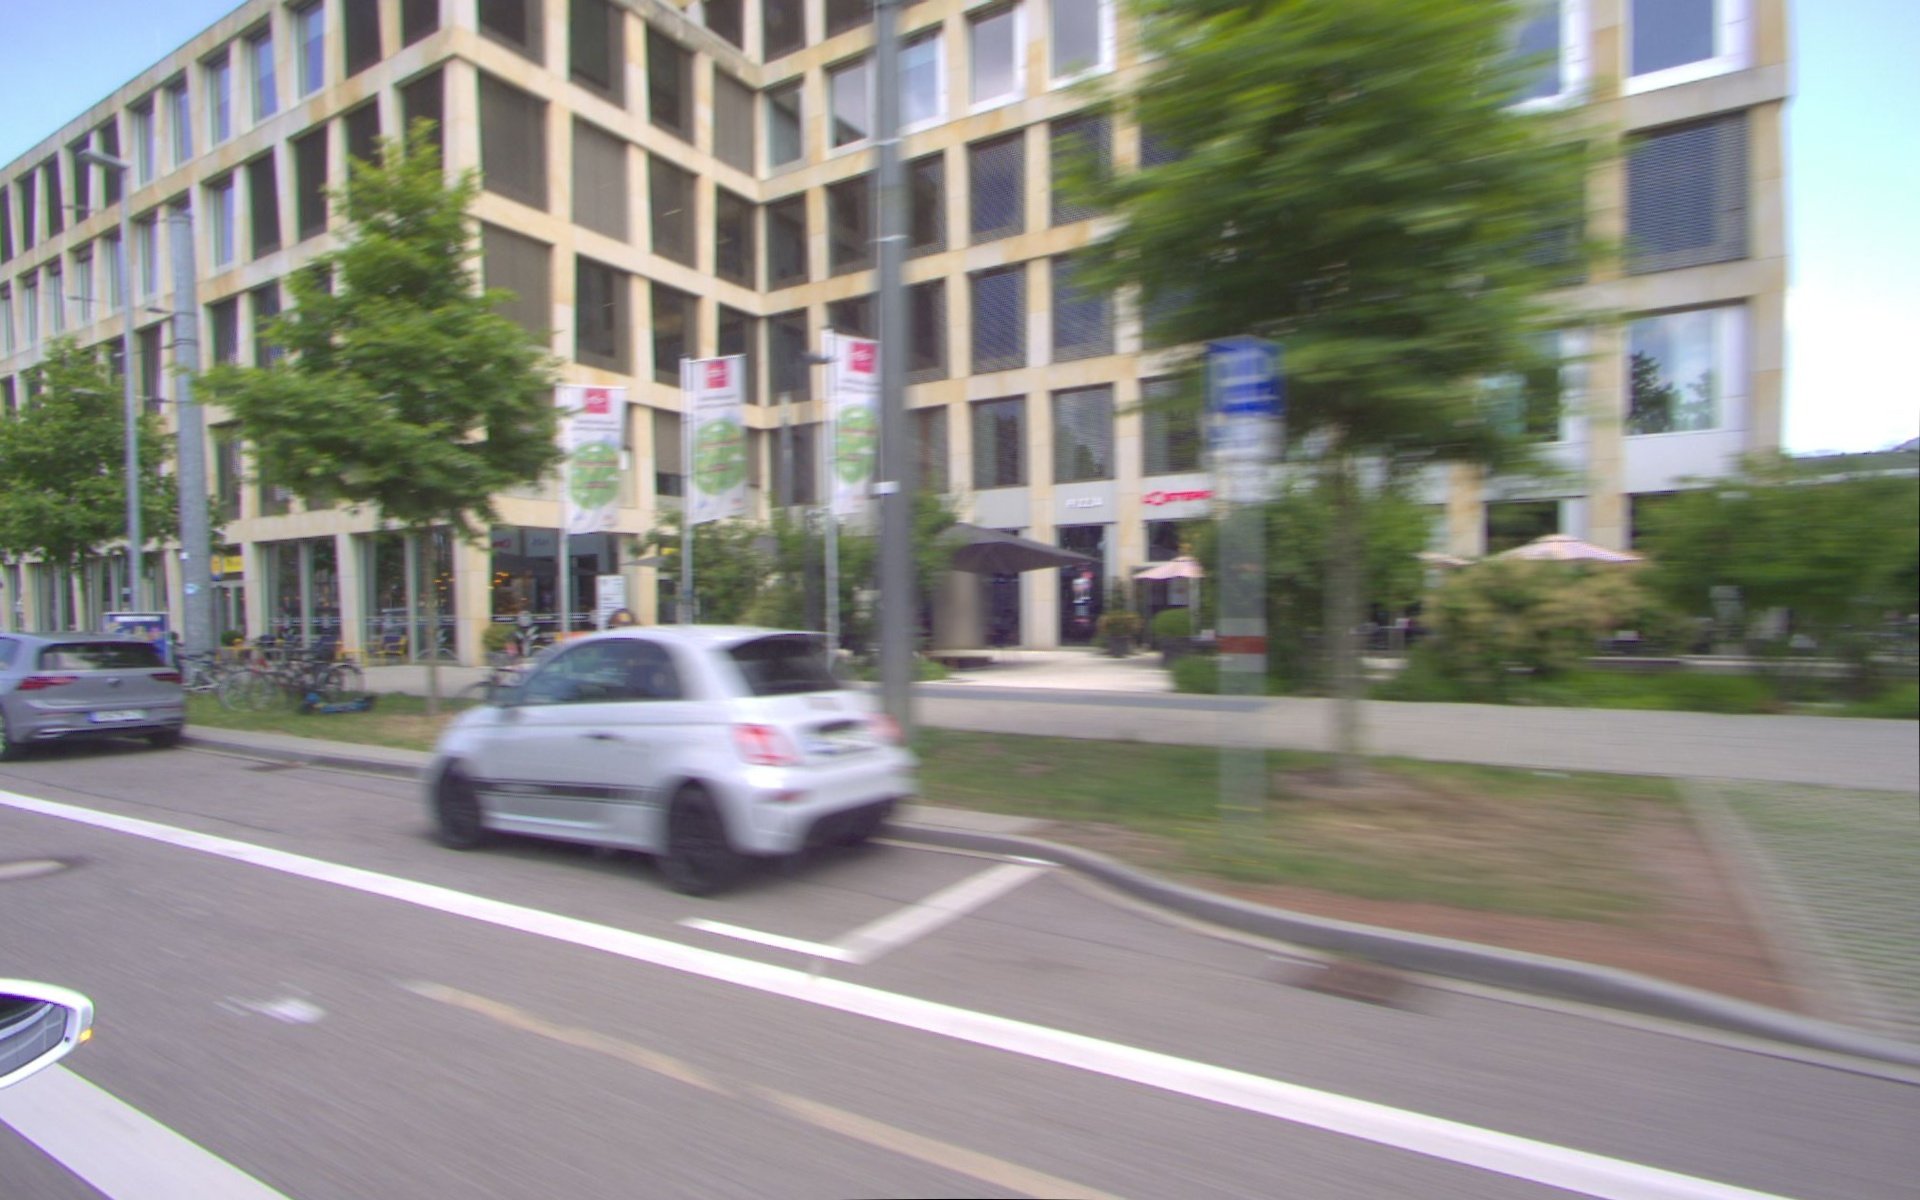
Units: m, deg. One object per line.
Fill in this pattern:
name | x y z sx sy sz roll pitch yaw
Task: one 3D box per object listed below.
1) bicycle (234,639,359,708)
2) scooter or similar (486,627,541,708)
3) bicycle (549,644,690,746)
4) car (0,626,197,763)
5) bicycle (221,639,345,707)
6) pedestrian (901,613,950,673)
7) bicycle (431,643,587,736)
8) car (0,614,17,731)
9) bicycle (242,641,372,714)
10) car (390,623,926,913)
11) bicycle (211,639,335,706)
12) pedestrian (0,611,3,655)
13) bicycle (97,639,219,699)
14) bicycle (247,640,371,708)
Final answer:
bicycle | -11.090 1.206 16.800 0.321 0.999 1.749 0 1 31
scooter or similar | -7.047 1.051 15.787 1.000 1.232 0.258 0 1 31
bicycle | -4.127 1.119 12.281 0.271 1.090 1.818 0 0 35
car | -11.467 1.069 12.547 4.045 1.453 1.590 0 -1 30
bicycle | -11.418 1.212 16.943 0.321 0.999 1.749 0 1 31
pedestrian | -0.819 1.011 23.869 0.855 1.381 0.773 0 2 31
bicycle | -6.029 1.159 13.488 0.677 1.090 1.818 0 0 35
car | -16.361 1.051 15.159 4.768 1.691 1.736 0 -1 30
bicycle | -10.336 1.203 15.929 0.321 0.999 1.749 0 1 31
car | -2.140 0.910 6.832 3.561 1.479 1.588 0 -1 33
bicycle | -11.711 1.216 17.121 0.321 0.999 1.749 0 1 31
pedestrian | -37.505 1.291 38.588 0.649 1.692 0.759 0 1 31
bicycle | -15.711 1.332 19.662 0.426 1.044 1.818 0 0 34
bicycle | -10.785 1.201 16.654 0.321 0.999 1.749 0 1 31
